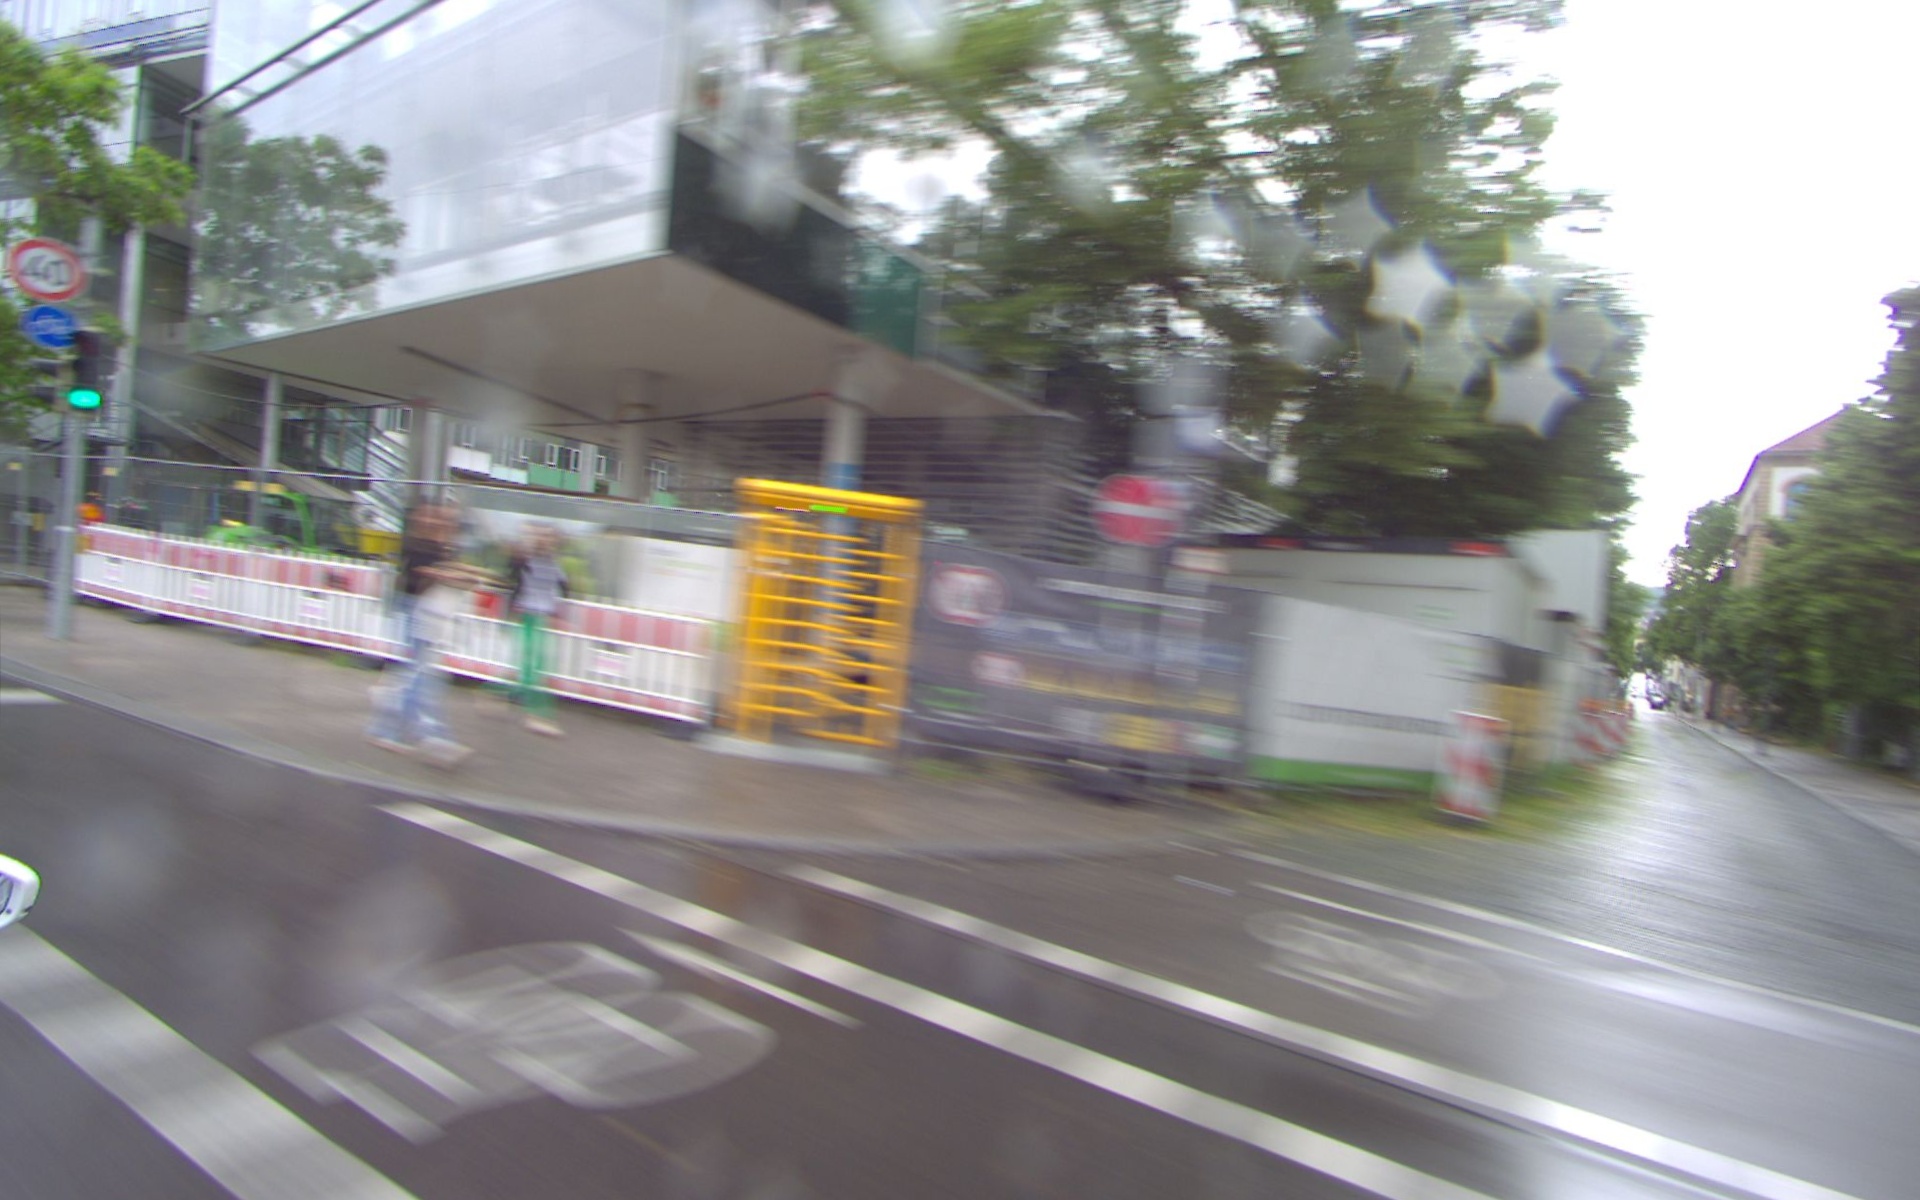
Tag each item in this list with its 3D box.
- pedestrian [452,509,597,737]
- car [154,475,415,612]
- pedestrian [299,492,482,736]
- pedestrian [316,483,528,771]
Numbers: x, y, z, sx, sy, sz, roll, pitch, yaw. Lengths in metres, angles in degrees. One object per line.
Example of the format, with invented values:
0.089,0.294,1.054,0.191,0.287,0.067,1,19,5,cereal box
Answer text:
-3.659,0.179,8.463,0.831,1.784,0.598,6,1,29,pedestrian
-12.328,-1.027,18.363,4.125,2.007,2.014,6,0,25,car
-4.539,0.102,8.038,0.941,1.784,0.720,6,1,23,pedestrian
-3.666,0.170,6.884,0.941,1.784,0.720,6,1,23,pedestrian
